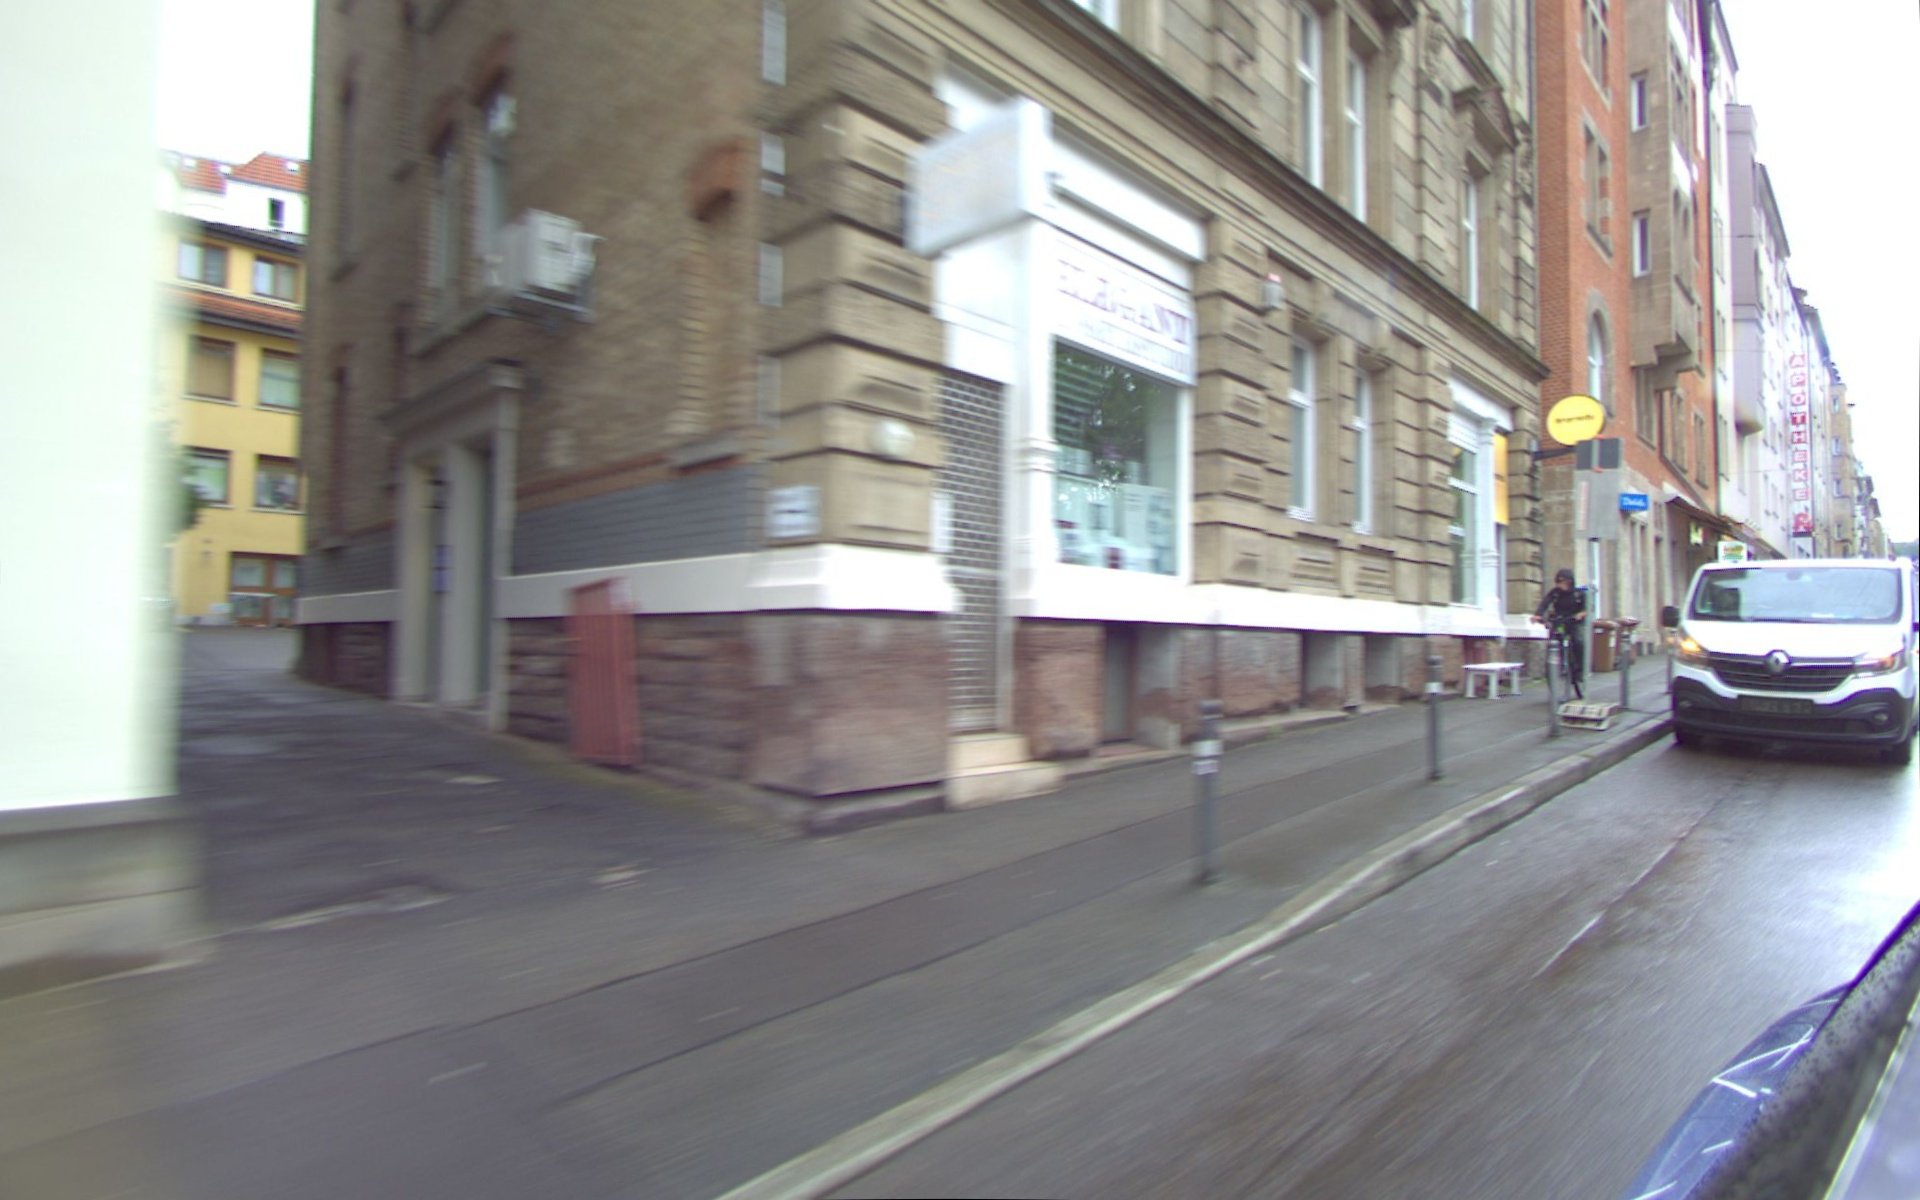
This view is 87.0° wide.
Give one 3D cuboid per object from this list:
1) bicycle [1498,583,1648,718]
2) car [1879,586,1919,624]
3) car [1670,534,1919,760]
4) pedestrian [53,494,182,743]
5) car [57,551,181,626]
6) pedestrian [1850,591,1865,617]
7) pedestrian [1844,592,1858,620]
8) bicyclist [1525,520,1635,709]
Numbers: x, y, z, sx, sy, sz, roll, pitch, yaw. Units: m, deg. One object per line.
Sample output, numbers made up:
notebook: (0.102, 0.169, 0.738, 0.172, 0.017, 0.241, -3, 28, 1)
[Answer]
bicycle: (8.054, 0.589, 13.208, 3.084, 1.574, 0.934, 0, -1, -45)
car: (48.258, 0.220, 51.631, 1.876, 1.872, 3.942, -1, 0, 40)
car: (9.712, 0.398, 11.331, 5.893, 1.929, 1.821, -1, -1, -45)
pedestrian: (-6.871, 0.127, 8.249, 0.895, 1.889, 0.707, 1, 1, 44)
car: (-19.194, -0.209, 23.057, 3.731, 1.572, 1.673, -2, -1, 42)
pedestrian: (61.368, 0.274, 69.189, 0.672, 1.813, 0.695, 0, 0, 34)
pedestrian: (58.110, 0.356, 65.991, 0.675, 1.813, 0.692, 0, 0, 44)
bicyclist: (7.995, 0.172, 13.040, 1.266, 2.292, 0.919, 0, -1, -45)
